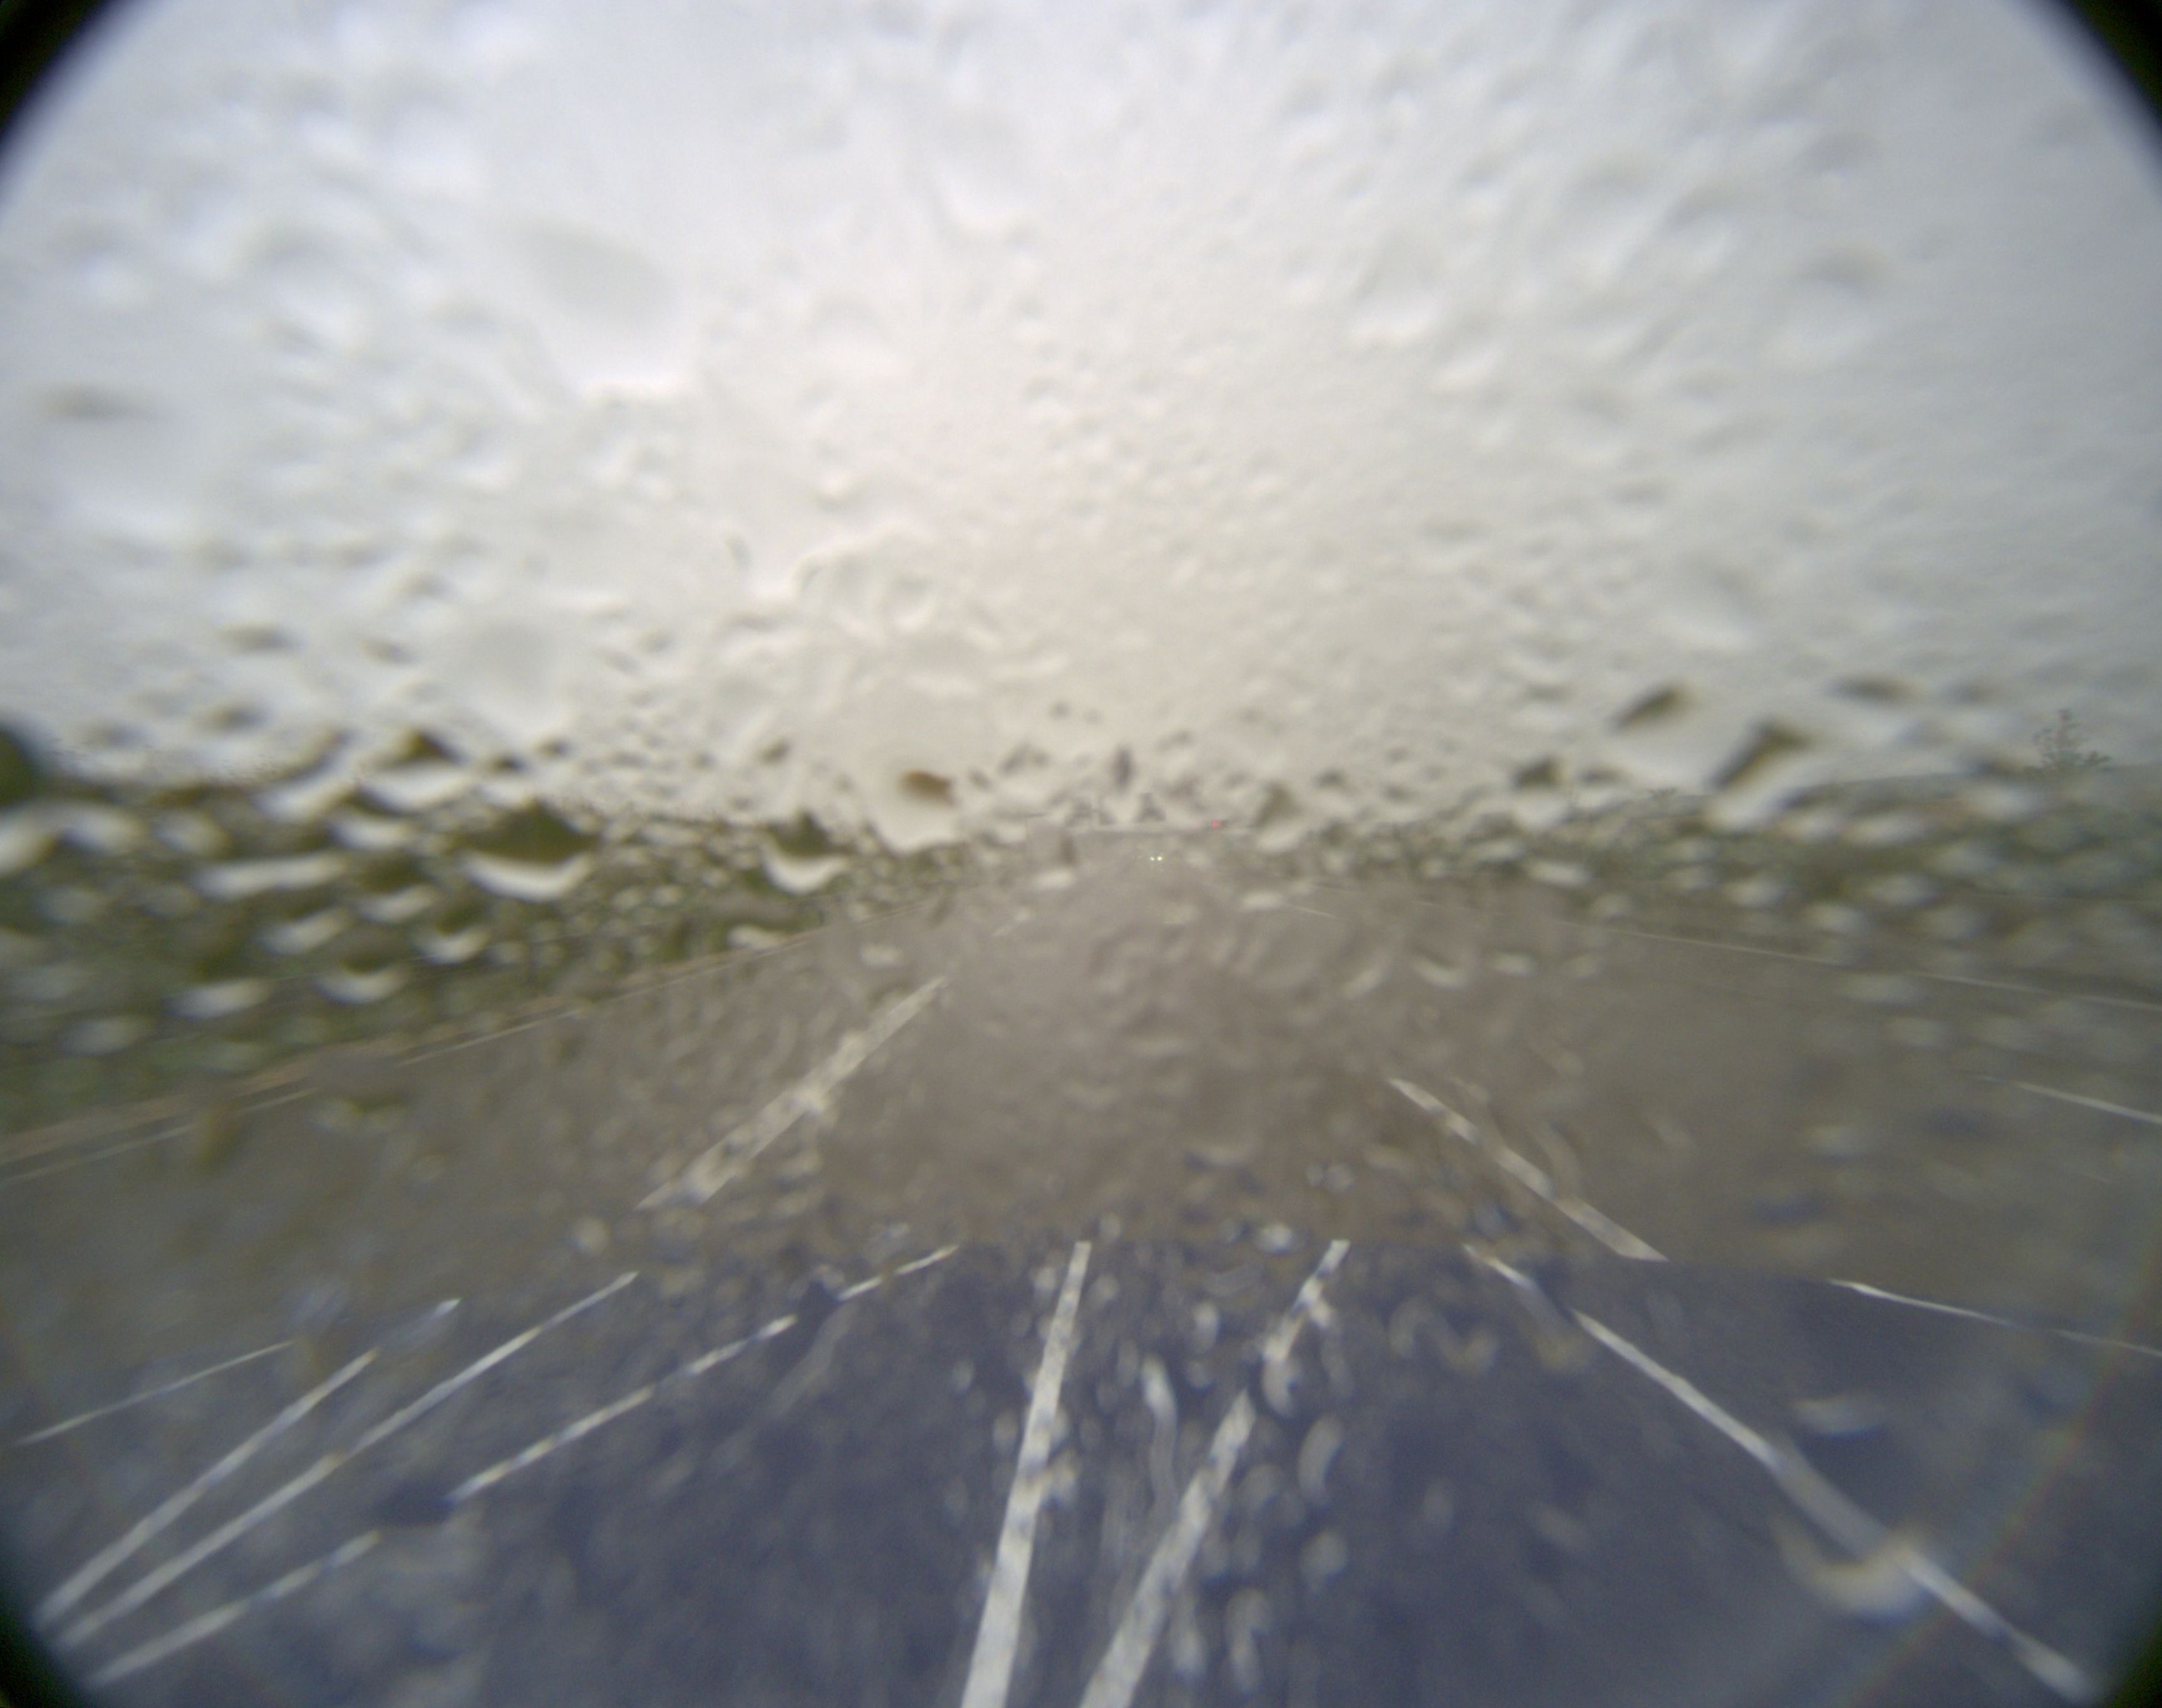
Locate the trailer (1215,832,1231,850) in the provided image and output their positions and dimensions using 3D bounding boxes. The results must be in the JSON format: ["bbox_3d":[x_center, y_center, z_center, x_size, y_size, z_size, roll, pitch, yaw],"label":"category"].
[{"bbox_3d":[33.648,-3.021,179.947,1.998,4.016,14.306,-2,0,4],"label":"trailer"}]

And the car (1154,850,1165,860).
[{"bbox_3d":[13.903,0.156,134.310,1.700,1.543,3.734,-3,0,4],"label":"car"}]

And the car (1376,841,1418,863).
[{"bbox_3d":[23.973,-0.176,57.792,1.683,1.586,3.721,-2,0,1],"label":"car"}]
